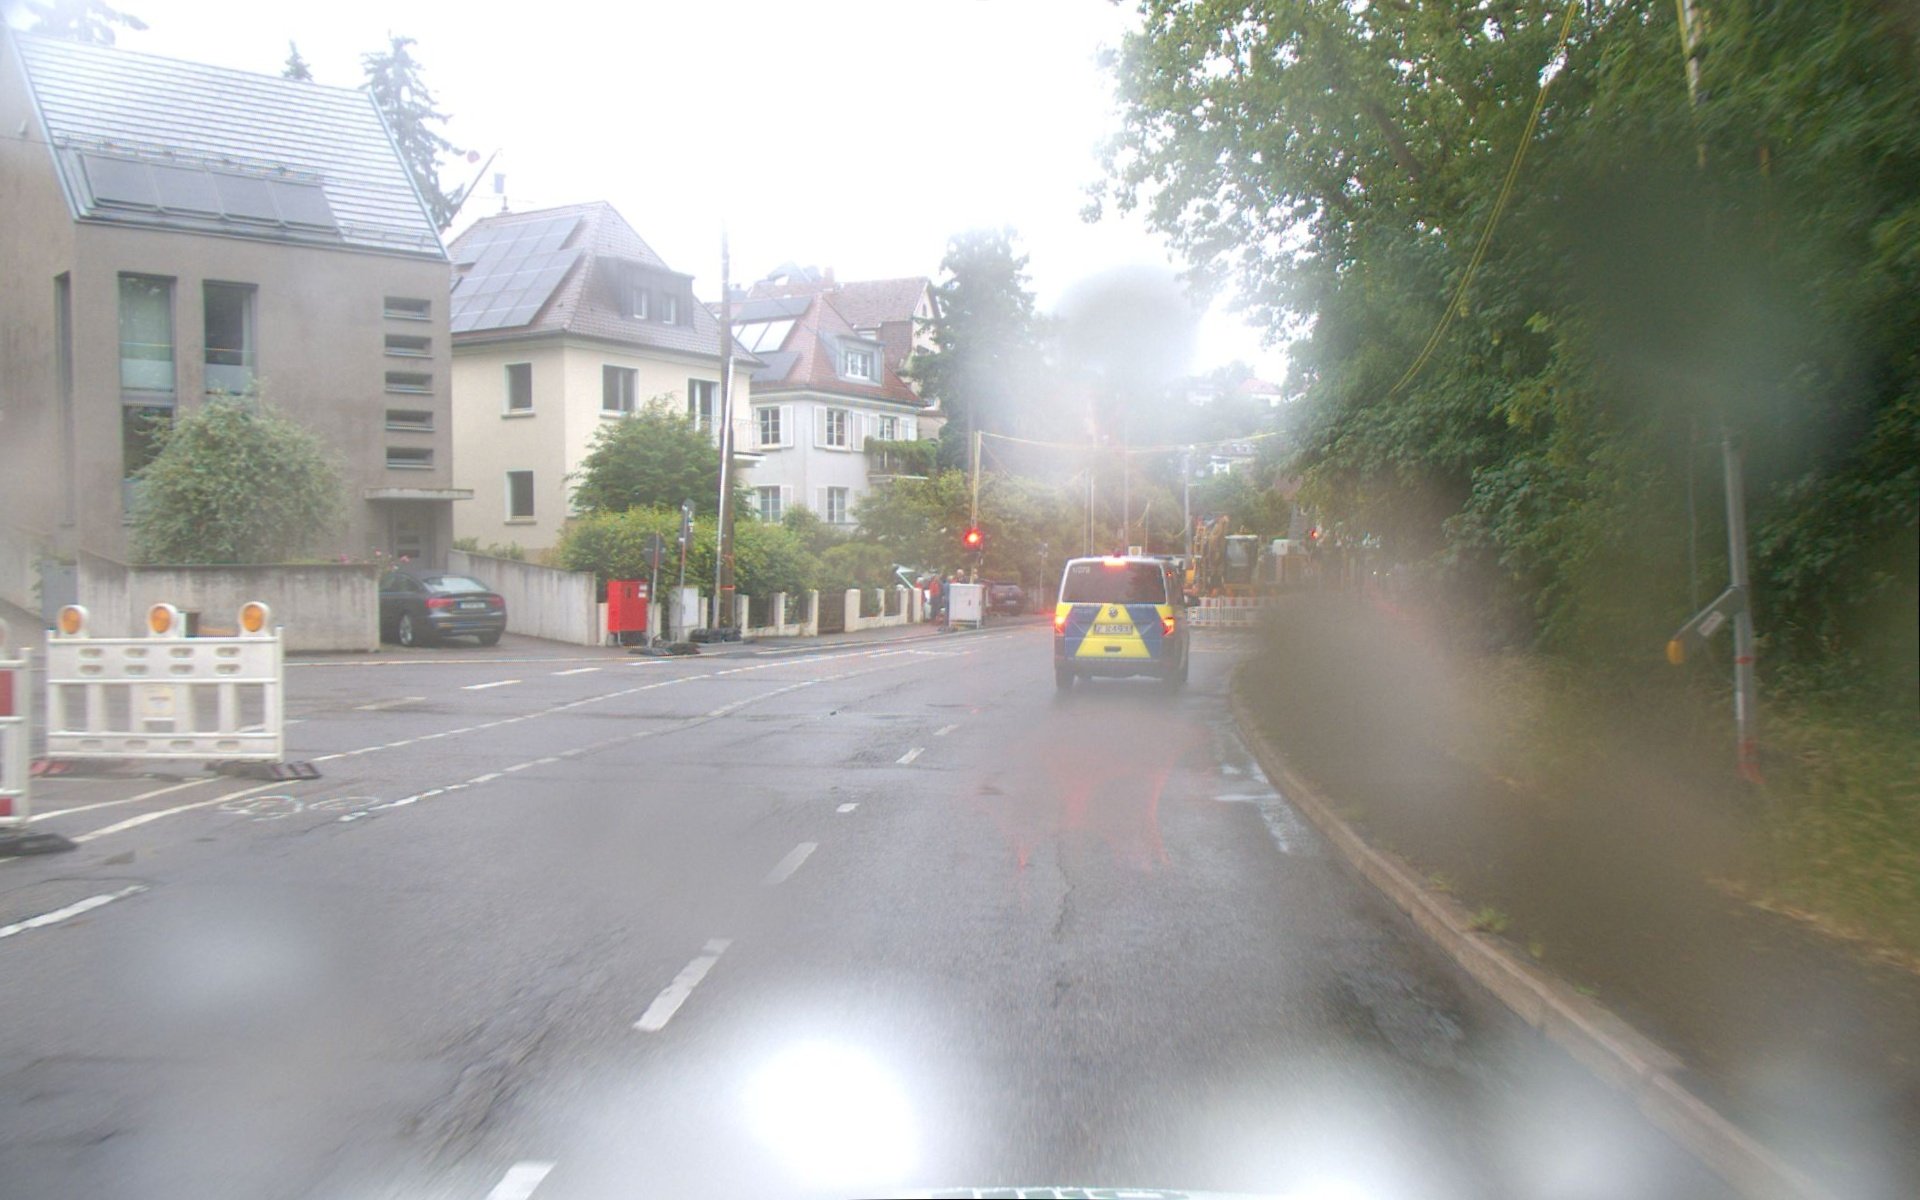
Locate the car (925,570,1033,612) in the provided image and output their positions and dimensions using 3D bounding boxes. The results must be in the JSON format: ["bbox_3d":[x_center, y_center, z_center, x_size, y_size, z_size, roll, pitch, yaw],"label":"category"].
[{"bbox_3d":[0.770,-0.356,66.000,3.906,1.512,1.759,2,-1,22],"label":"car"}]

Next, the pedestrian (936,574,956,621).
[{"bbox_3d":[-0.465,-0.074,54.665,0.514,1.533,0.429,2,-1,13],"label":"pedestrian"}]

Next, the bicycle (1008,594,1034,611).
[{"bbox_3d":[2.527,0.104,68.782,1.032,0.674,0.320,2,-1,22],"label":"bicycle"}]

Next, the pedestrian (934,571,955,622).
[{"bbox_3d":[-0.500,-0.122,53.370,0.551,1.610,0.468,2,-1,13],"label":"pedestrian"}]

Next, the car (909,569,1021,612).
[{"bbox_3d":[0.192,-0.369,63.922,3.906,1.512,1.759,2,-1,22],"label":"car"}]

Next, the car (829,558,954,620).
[{"bbox_3d":[-2.355,-0.382,56.830,3.906,2.049,1.830,1,1,23],"label":"car"}]

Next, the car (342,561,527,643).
[{"bbox_3d":[-10.308,-0.005,32.316,3.933,1.469,1.827,2,2,44],"label":"car"}]

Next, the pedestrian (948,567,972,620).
[{"bbox_3d":[0.006,-0.217,55.119,0.613,1.745,0.593,2,-1,13],"label":"pedestrian"}]

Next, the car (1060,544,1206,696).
[{"bbox_3d":[2.649,0.235,25.498,1.951,2.048,4.405,-3,1,6],"label":"car"}]

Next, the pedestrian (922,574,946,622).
[{"bbox_3d":[-0.853,-0.060,54.059,0.613,1.548,0.593,2,-1,13],"label":"pedestrian"}]
